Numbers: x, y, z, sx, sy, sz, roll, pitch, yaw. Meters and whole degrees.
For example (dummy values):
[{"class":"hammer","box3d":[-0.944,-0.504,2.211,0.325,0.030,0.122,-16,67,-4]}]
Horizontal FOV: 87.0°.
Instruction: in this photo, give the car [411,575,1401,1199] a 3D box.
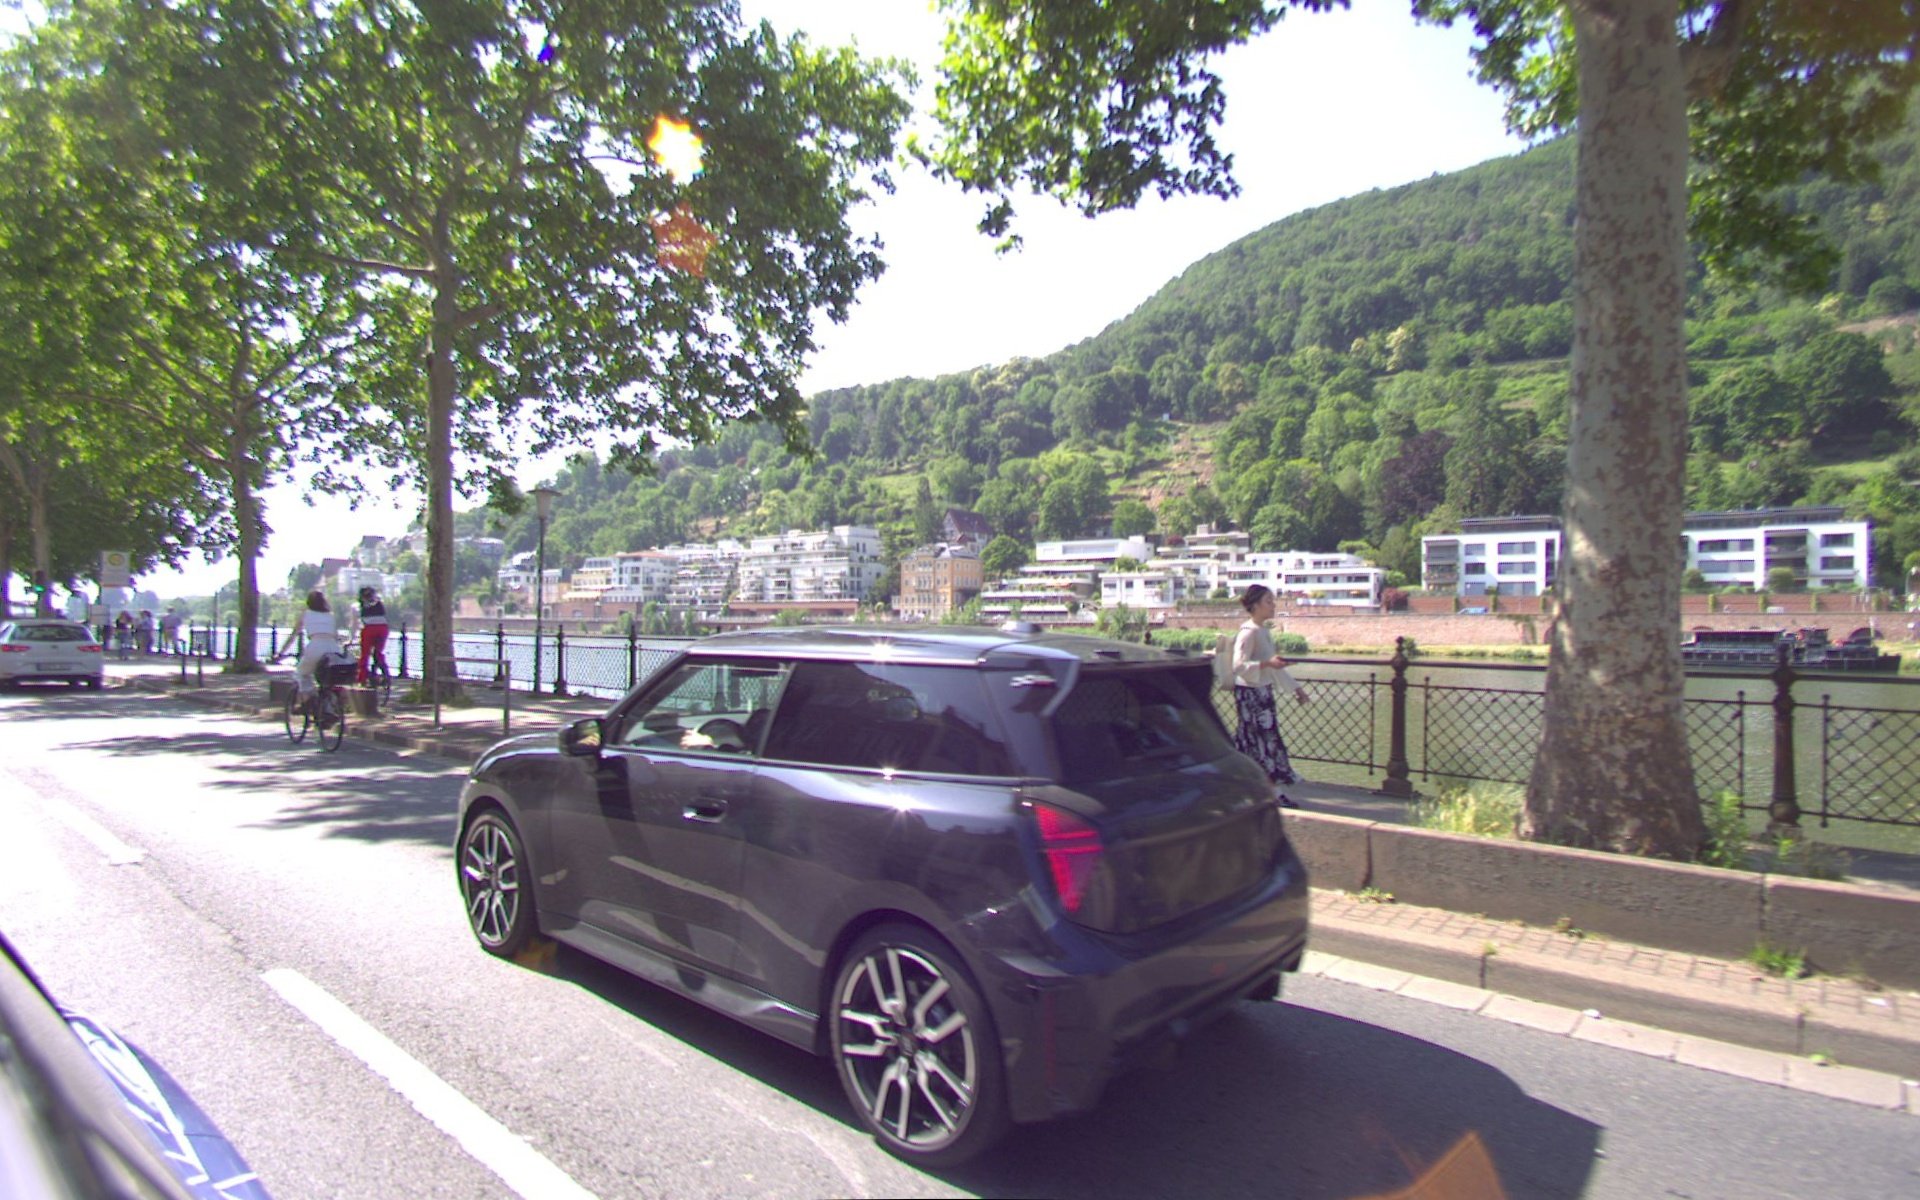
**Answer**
[{"class":"car","box3d":[-0.546,0.719,4.131,4.000,1.469,1.683,0,-2,41]}]

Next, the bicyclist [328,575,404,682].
[{"class":"bicyclist","box3d":[-9.238,0.435,15.734,1.089,1.595,0.711,-1,-2,43]}]

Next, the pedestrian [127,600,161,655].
[{"class":"pedestrian","box3d":[-26.284,0.896,32.589,0.792,1.727,0.646,-1,-3,39]}]

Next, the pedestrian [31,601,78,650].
[{"class":"pedestrian","box3d":[-33.372,0.941,37.299,1.008,1.786,0.770,1,-1,-9]}]

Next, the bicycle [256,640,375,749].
[{"class":"bicycle","box3d":[-7.296,1.015,11.414,0.732,1.085,1.954,0,-1,-45]}]

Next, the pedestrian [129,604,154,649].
[{"class":"pedestrian","box3d":[-31.580,0.997,39.036,0.695,1.713,0.612,-1,-1,40]}]

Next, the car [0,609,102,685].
[{"class":"car","box3d":[-19.418,0.961,21.201,4.090,1.456,1.683,-2,-2,42]}]

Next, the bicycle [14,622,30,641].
[{"class":"bicycle","box3d":[-58.471,1.960,63.077,1.843,1.161,0.557,0,0,41]}]

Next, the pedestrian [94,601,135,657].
[{"class":"pedestrian","box3d":[-26.632,0.898,31.868,0.782,1.726,0.827,-1,-2,40]}]

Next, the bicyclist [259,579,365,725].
[{"class":"bicyclist","box3d":[-7.288,0.572,11.372,1.025,1.543,0.758,-4,-2,43]}]

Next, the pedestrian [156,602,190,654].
[{"class":"pedestrian","box3d":[-27.106,0.965,34.840,0.971,1.777,0.704,-1,-2,40]}]

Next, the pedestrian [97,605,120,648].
[{"class":"pedestrian","box3d":[-32.939,1.030,39.139,0.991,1.630,0.488,-1,-2,41]}]

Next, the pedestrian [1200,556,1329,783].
[{"class":"pedestrian","box3d":[2.300,0.498,7.628,0.695,1.598,0.754,-1,-2,40]}]

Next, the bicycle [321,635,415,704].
[{"class":"bicycle","box3d":[-9.163,1.043,15.641,1.953,0.986,0.746,-2,-3,44]}]
